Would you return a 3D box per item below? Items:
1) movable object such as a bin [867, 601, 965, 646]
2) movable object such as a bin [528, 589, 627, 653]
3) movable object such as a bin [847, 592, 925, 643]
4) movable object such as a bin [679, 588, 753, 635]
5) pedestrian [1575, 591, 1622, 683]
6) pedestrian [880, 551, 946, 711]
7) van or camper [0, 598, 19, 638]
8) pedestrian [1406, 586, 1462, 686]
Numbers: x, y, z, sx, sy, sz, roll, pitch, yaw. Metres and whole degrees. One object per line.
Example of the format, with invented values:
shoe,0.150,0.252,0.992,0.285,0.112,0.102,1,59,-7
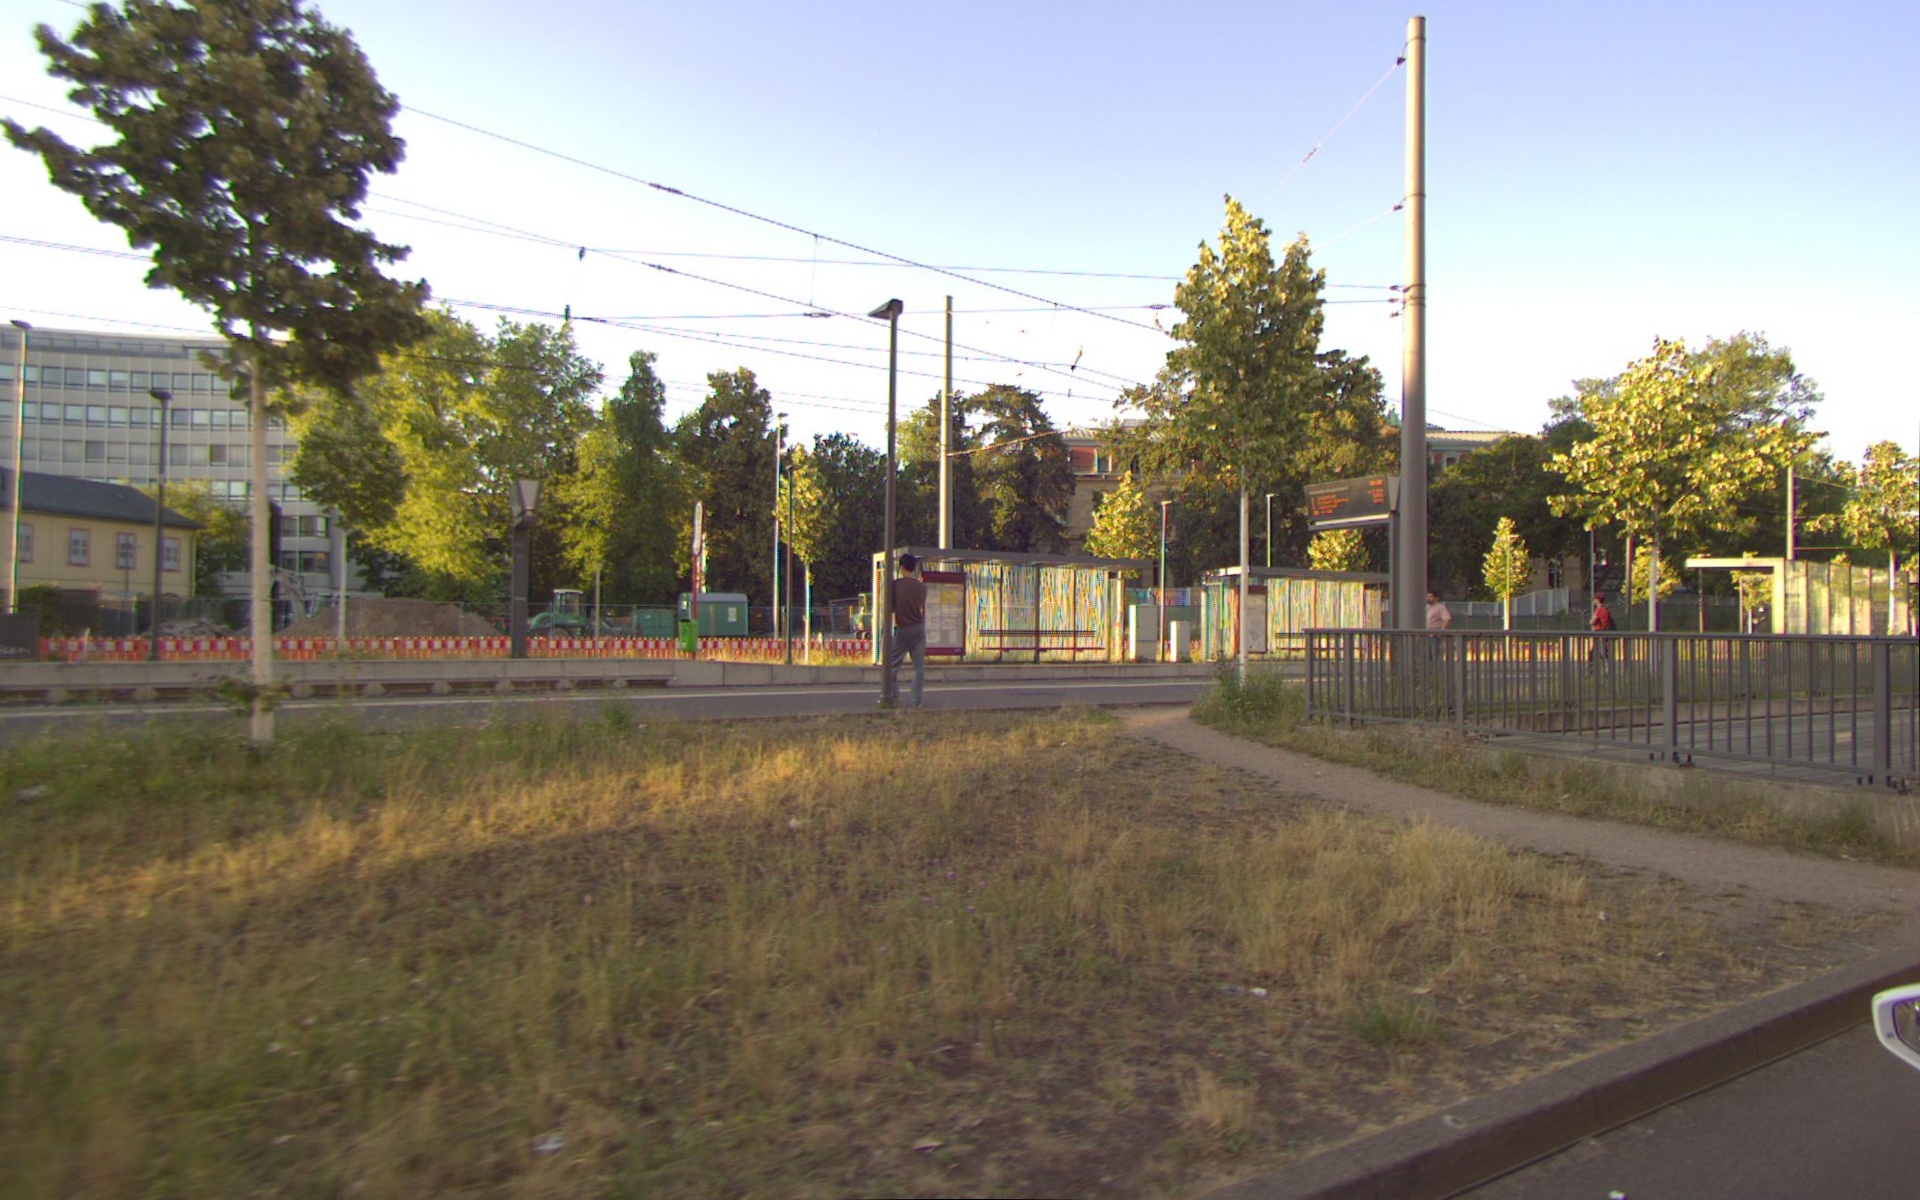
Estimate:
movable object such as a bin,-2.332,1.266,53.826,4.877,2.276,1.986,2,-1,-28
movable object such as a bin,-17.067,0.951,44.979,3.935,2.742,1.993,1,-1,-17
movable object such as a bin,-4.219,1.026,57.220,3.950,2.742,1.986,2,-1,-28
movable object such as a bin,-14.750,0.725,60.652,3.950,2.742,1.986,2,-1,-28
pedestrian,12.476,0.718,19.622,0.631,1.751,0.628,2,-2,-42
pedestrian,-0.547,0.359,11.688,0.617,1.810,0.470,1,-1,-22
van or camper,-56.930,1.015,56.861,1.959,2.332,5.120,0,-2,12
pedestrian,8.580,0.642,18.185,0.630,1.768,0.719,1,-1,-37
